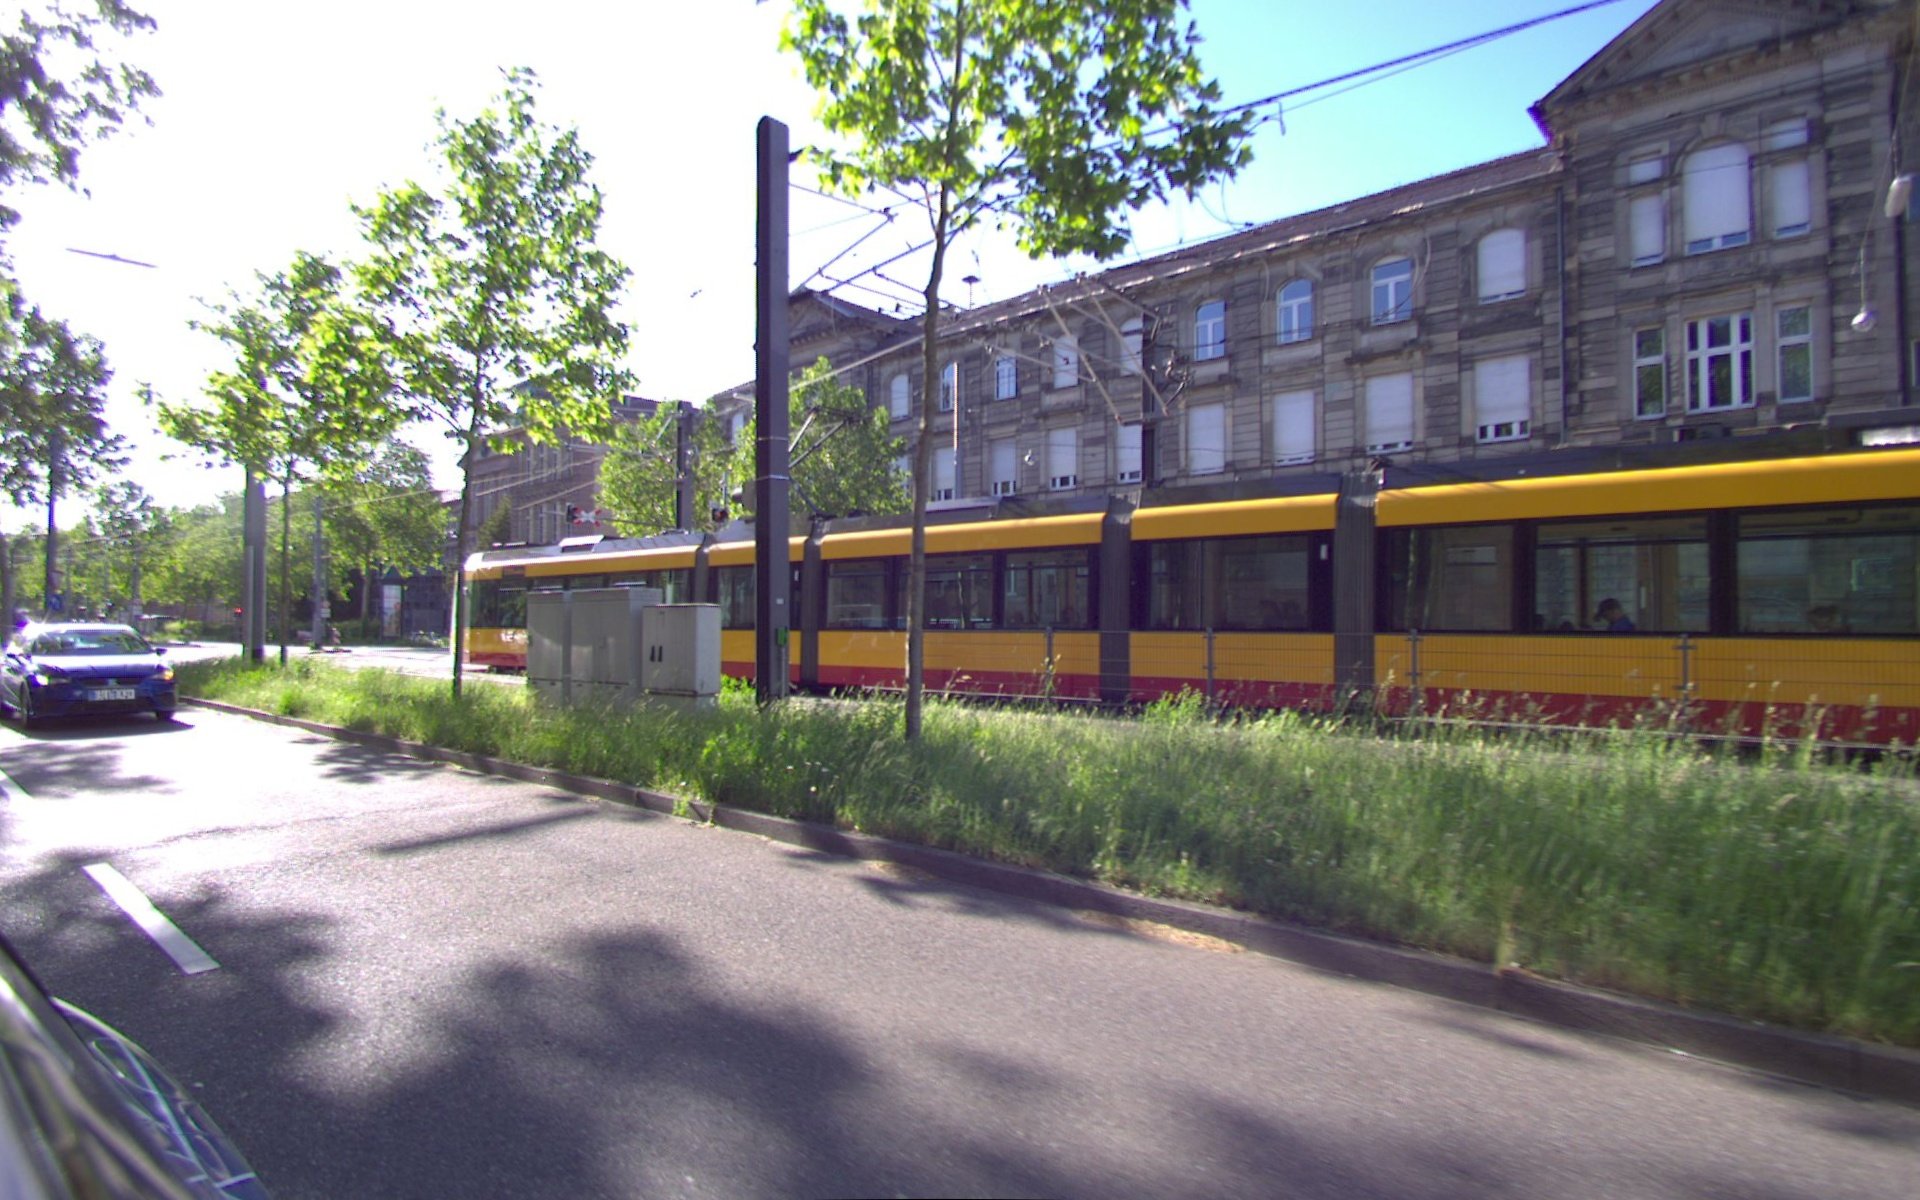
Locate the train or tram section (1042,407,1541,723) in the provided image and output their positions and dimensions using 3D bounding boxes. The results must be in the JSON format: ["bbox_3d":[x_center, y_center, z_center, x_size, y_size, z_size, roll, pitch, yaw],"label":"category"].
[{"bbox_3d":[4.498,-0.354,14.320,6.053,3.510,2.927,-1,-1,39],"label":"train or tram section"}]

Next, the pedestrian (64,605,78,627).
[{"bbox_3d":[-71.733,1.261,81.657,0.692,1.758,0.592,-1,0,9],"label":"pedestrian"}]

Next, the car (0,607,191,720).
[{"bbox_3d":[-13.266,0.873,15.325,3.865,1.459,1.756,-1,0,40],"label":"car"}]

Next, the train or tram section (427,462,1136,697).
[{"bbox_3d":[-6.055,-0.180,23.055,21.198,3.510,2.934,-1,-1,40],"label":"train or tram section"}]

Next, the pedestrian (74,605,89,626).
[{"bbox_3d":[-70.495,1.237,81.171,0.692,1.689,0.592,-1,0,9],"label":"pedestrian"}]

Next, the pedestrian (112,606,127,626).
[{"bbox_3d":[-67.198,1.265,80.926,0.692,1.633,0.592,-1,0,9],"label":"pedestrian"}]

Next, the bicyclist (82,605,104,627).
[{"bbox_3d":[-67.418,1.250,78.710,0.826,1.656,0.966,-1,0,9],"label":"bicyclist"}]

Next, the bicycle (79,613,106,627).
[{"bbox_3d":[-67.414,1.554,78.662,0.538,1.049,1.658,0,0,10],"label":"bicycle"}]

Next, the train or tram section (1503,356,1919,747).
[{"bbox_3d":[11.307,-0.465,8.792,11.273,3.510,2.932,-1,-1,39],"label":"train or tram section"}]
